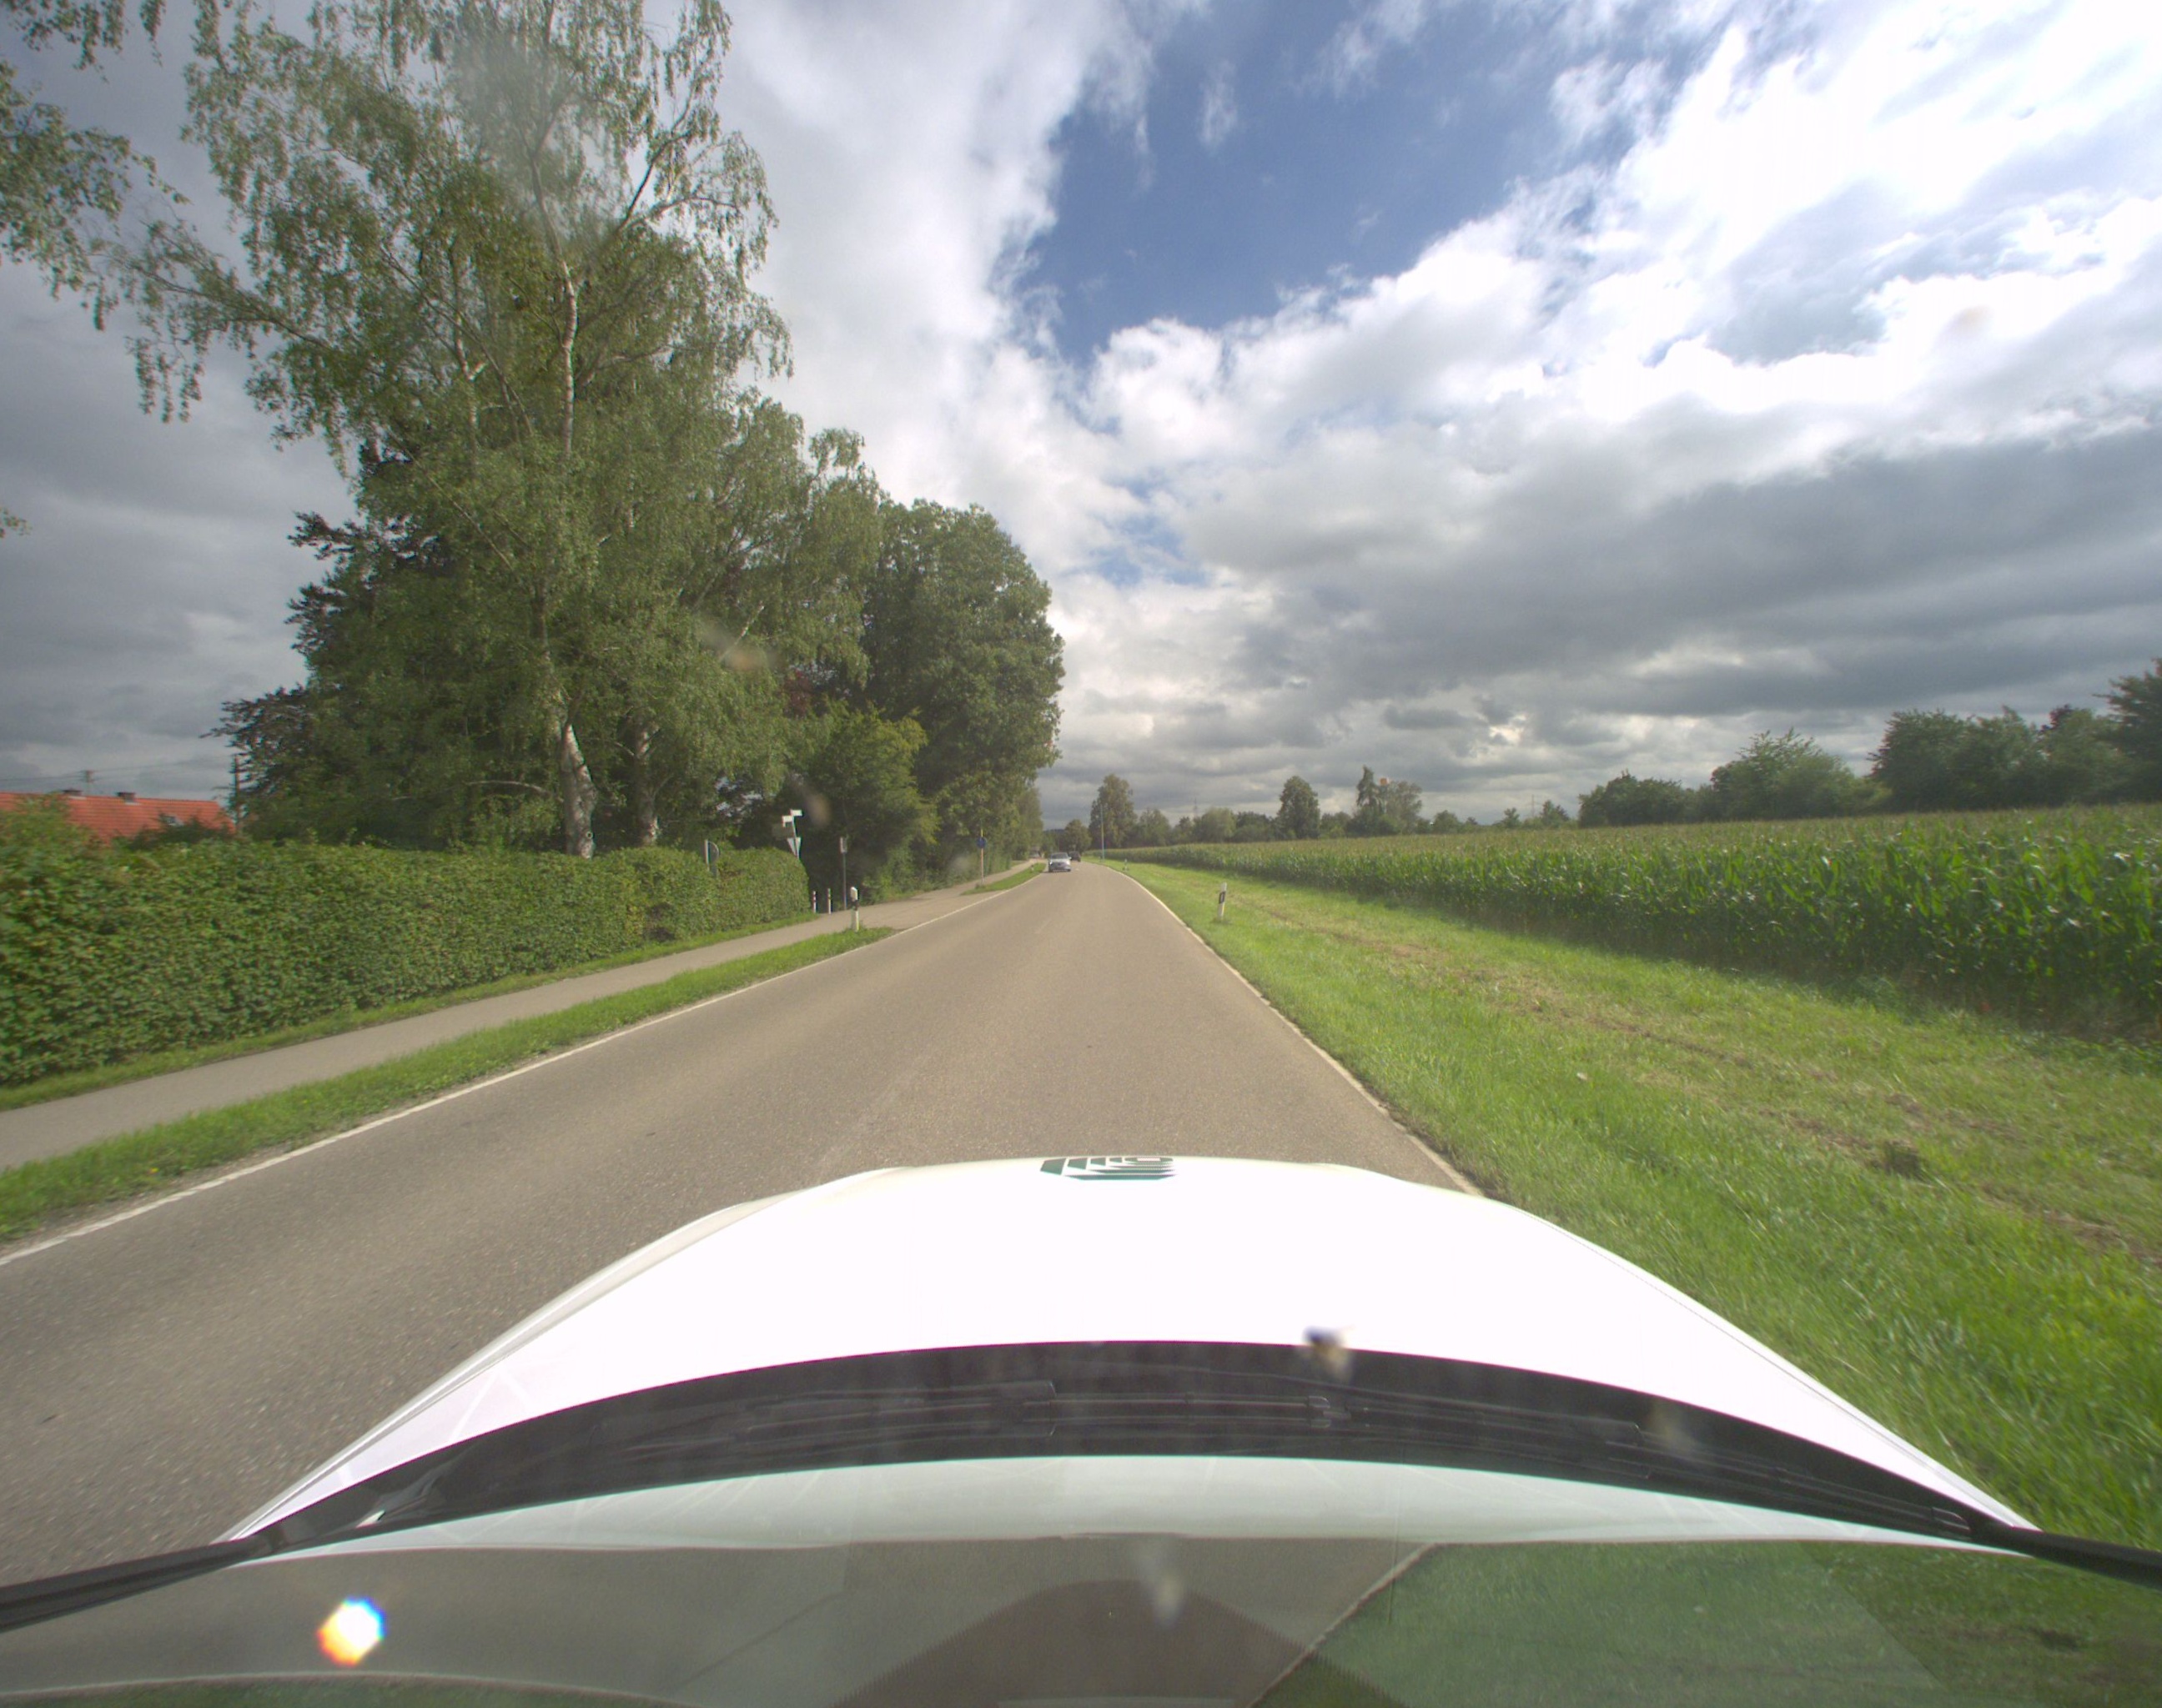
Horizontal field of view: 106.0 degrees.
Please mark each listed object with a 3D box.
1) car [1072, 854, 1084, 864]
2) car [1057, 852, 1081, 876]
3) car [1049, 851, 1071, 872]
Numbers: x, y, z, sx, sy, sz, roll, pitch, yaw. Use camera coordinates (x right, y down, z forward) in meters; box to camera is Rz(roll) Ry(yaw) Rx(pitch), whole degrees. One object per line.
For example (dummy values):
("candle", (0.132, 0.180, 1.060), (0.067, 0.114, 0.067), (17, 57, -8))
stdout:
("car", (-0.472, 0.843, 133.012), (1.987, 1.585, 3.999), (0, -1, 0))
("car", (-1.081, 0.852, 71.030), (1.989, 2.014, 3.996), (0, -1, -3))
("car", (-1.800, 0.595, 70.938), (1.806, 1.650, 4.291), (-3, 0, -1))
